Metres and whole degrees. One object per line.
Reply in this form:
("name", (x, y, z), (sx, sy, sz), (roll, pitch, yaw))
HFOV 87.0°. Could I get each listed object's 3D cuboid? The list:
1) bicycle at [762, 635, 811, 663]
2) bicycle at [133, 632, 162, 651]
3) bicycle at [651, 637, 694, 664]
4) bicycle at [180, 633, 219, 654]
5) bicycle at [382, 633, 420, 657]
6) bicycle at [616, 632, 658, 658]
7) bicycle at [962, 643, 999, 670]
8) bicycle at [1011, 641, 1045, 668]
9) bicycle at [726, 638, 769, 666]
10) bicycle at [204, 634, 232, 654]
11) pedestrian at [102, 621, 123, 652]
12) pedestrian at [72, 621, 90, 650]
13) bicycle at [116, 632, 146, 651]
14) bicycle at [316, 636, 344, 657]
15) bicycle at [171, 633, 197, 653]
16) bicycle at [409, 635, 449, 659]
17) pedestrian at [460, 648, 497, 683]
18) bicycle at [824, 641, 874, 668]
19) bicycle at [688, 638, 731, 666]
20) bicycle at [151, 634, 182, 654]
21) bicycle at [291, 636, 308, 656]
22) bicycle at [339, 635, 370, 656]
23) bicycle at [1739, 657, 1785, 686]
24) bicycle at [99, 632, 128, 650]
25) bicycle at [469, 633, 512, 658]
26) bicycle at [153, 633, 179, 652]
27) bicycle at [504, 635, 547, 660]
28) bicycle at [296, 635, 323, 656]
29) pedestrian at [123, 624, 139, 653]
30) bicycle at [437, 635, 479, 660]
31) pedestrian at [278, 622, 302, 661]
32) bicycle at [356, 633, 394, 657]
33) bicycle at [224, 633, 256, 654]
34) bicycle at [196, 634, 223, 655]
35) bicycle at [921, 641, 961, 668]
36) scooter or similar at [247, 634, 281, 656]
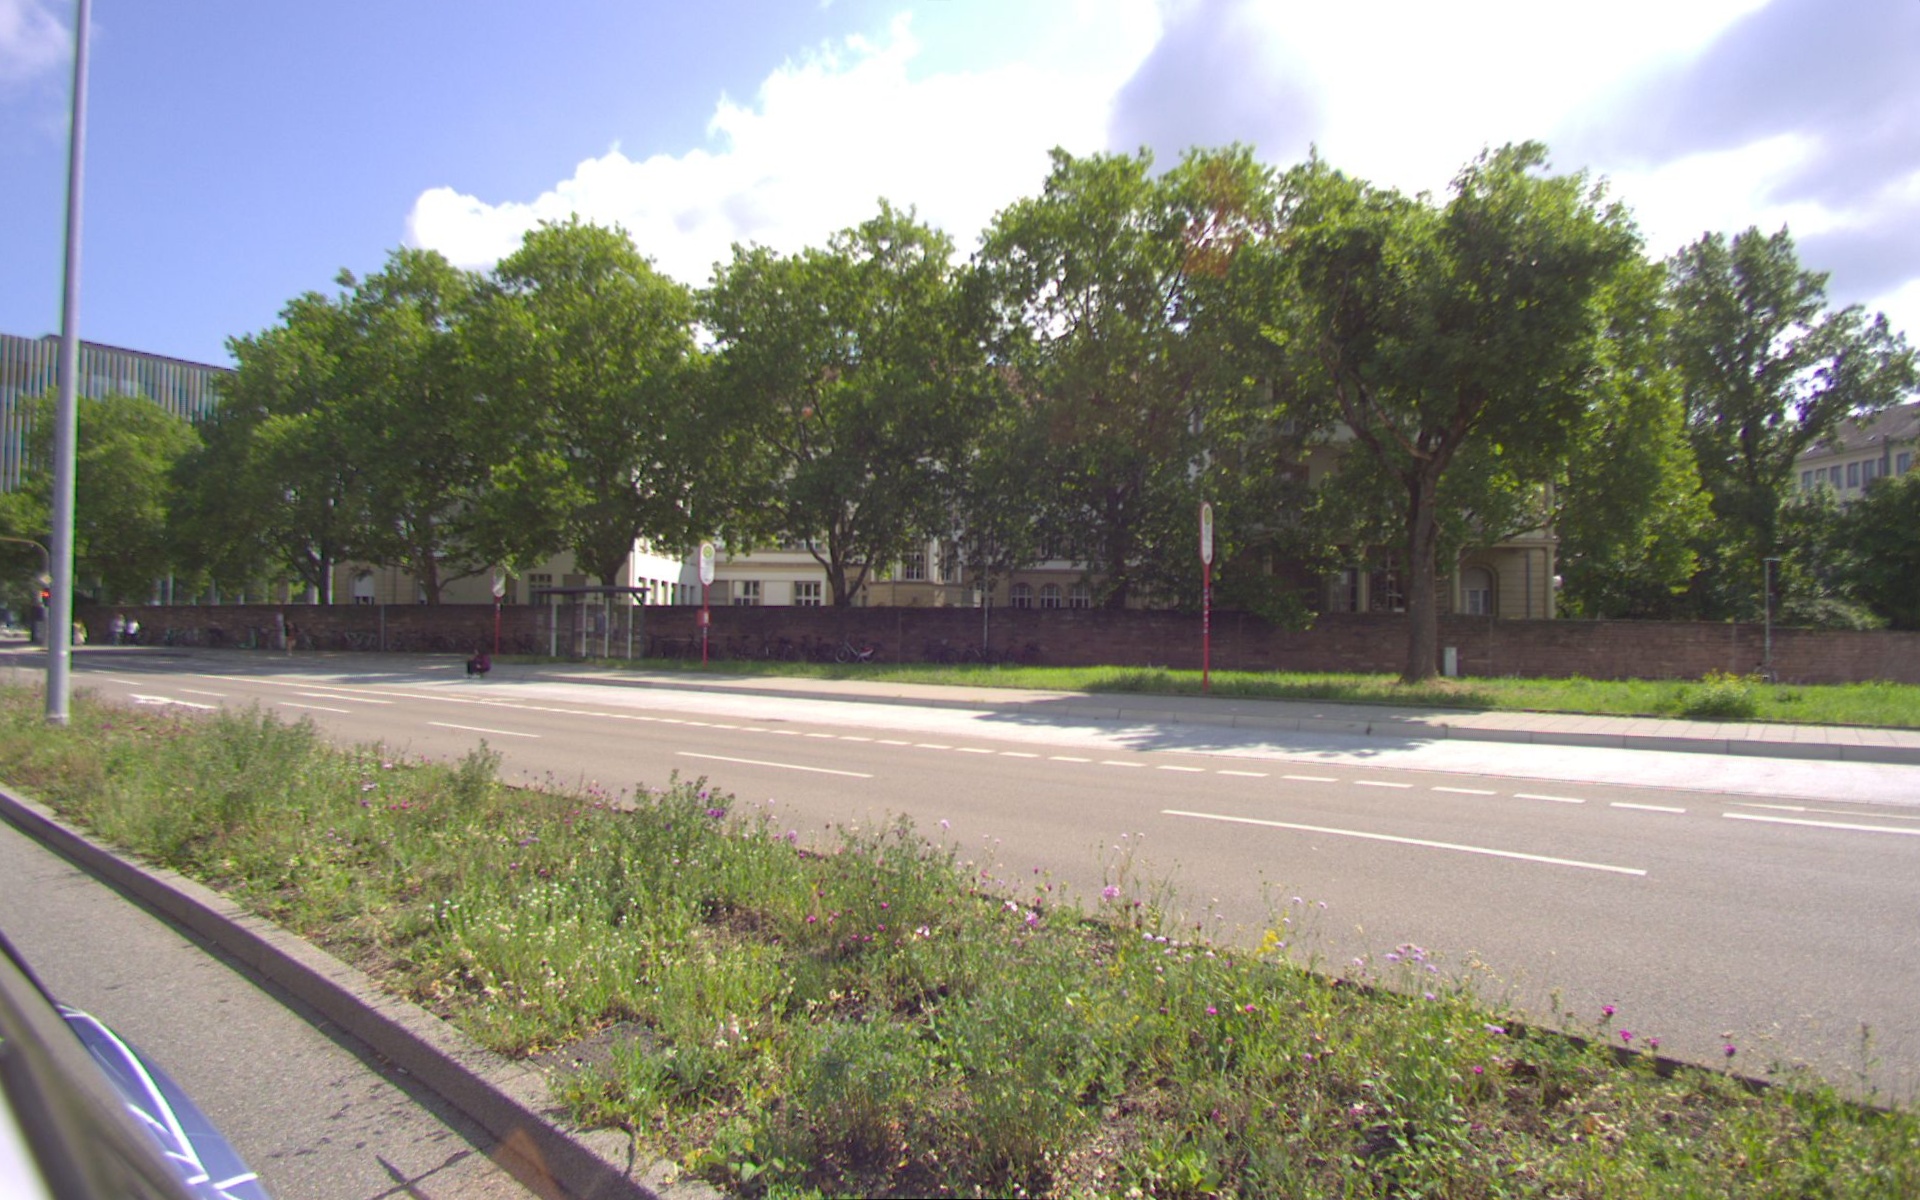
("bicycle", (-6.916, 1.946, 40.311), (1.856, 1.081, 0.580), (0, -2, 21))
("bicycle", (-45.755, 2.346, 56.998), (1.872, 1.056, 0.560), (-1, -2, 28))
("bicycle", (-11.817, 2.056, 41.600), (1.617, 1.081, 0.581), (0, -2, 16))
("bicycle", (-40.388, 2.303, 53.754), (1.862, 1.056, 0.591), (0, -2, 13))
("bicycle", (-25.722, 2.053, 46.559), (1.744, 1.081, 0.580), (-1, -2, 22))
("bicycle", (-13.417, 1.859, 42.068), (1.617, 1.081, 0.581), (0, -2, 16))
("bicycle", (0.789, 2.141, 38.593), (1.358, 1.019, 0.390), (0, -2, 17))
("bicycle", (2.579, 2.053, 38.223), (1.244, 1.019, 0.351), (0, -2, 17))
("bicycle", (-8.531, 2.092, 40.644), (1.617, 1.081, 0.581), (0, -2, 16))
("bicycle", (-38.731, 2.295, 52.834), (1.872, 1.056, 0.391), (-1, -2, 28))
("pedestrian", (-46.187, 1.987, 55.170), (0.729, 1.664, 0.636), (-1, -3, 32))
("pedestrian", (-49.733, 2.008, 57.266), (0.724, 1.664, 0.556), (-1, -3, 32))
("bicycle", (-47.497, 2.356, 57.968), (1.872, 1.056, 0.626), (-1, -2, 28))
("bicycle", (-30.371, 2.238, 48.793), (1.392, 0.962, 0.365), (-1, -2, 22))
("bicycle", (-42.137, 2.341, 54.958), (1.872, 1.056, 0.368), (-1, -2, 28))
("bicycle", (-24.068, 2.117, 45.839), (1.743, 1.081, 0.580), (0, -2, 21))
("pedestrian", (-14.078, 1.905, 29.600), (0.741, 0.970, 0.688), (-1, -2, 36))
("bicycle", (-4.358, 2.136, 39.660), (1.947, 1.019, 0.469), (0, -2, 17))
("bicycle", (-10.188, 2.105, 41.143), (1.617, 1.081, 0.581), (0, -2, 16))
("bicycle", (-42.952, 2.366, 54.776), (1.872, 1.056, 0.588), (-1, -2, 28))
("bicycle", (-31.548, 2.187, 48.320), (0.362, 0.962, 1.626), (2, -3, -44))
("bicycle", (-28.796, 2.148, 48.107), (1.616, 0.962, 0.368), (-1, -2, 22))
("bicycle", (28.930, 2.581, 36.525), (1.498, 0.999, 0.395), (1, -2, -10))
("bicycle", (-49.519, 2.385, 59.166), (1.872, 1.056, 0.626), (-1, -2, 28))
("bicycle", (-20.650, 2.012, 44.501), (1.740, 1.081, 0.581), (0, -2, 16))
("bicycle", (-43.893, 2.346, 55.939), (1.872, 1.056, 0.368), (-1, -2, 28))
("bicycle", (-18.808, 2.052, 43.802), (1.740, 1.081, 0.581), (0, -2, 16))
("bicycle", (-31.729, 2.214, 49.329), (1.392, 0.962, 0.365), (-1, -2, 22))
("pedestrian", (-46.045, 2.138, 56.237), (0.614, 1.551, 0.472), (-1, -3, 32))
("bicycle", (-22.356, 2.093, 45.091), (1.740, 1.081, 0.581), (0, -2, 16))
("pedestrian", (-28.379, 1.763, 42.871), (0.743, 1.622, 0.650), (-1, -2, 38))
("bicycle", (-27.358, 2.109, 47.321), (1.744, 1.081, 0.580), (-1, -2, 22))
("bicycle", (-36.992, 2.221, 51.995), (1.872, 1.056, 0.576), (-1, -2, 28))
("bicycle", (-38.909, 2.293, 52.470), (1.872, 1.056, 0.370), (-1, -2, 28))
("bicycle", (-0.726, 2.094, 38.850), (1.443, 1.019, 0.469), (0, -2, 17))
("scooter or similar", (-35.233, 2.261, 51.215), (1.872, 1.056, 0.576), (-1, -2, 28))
